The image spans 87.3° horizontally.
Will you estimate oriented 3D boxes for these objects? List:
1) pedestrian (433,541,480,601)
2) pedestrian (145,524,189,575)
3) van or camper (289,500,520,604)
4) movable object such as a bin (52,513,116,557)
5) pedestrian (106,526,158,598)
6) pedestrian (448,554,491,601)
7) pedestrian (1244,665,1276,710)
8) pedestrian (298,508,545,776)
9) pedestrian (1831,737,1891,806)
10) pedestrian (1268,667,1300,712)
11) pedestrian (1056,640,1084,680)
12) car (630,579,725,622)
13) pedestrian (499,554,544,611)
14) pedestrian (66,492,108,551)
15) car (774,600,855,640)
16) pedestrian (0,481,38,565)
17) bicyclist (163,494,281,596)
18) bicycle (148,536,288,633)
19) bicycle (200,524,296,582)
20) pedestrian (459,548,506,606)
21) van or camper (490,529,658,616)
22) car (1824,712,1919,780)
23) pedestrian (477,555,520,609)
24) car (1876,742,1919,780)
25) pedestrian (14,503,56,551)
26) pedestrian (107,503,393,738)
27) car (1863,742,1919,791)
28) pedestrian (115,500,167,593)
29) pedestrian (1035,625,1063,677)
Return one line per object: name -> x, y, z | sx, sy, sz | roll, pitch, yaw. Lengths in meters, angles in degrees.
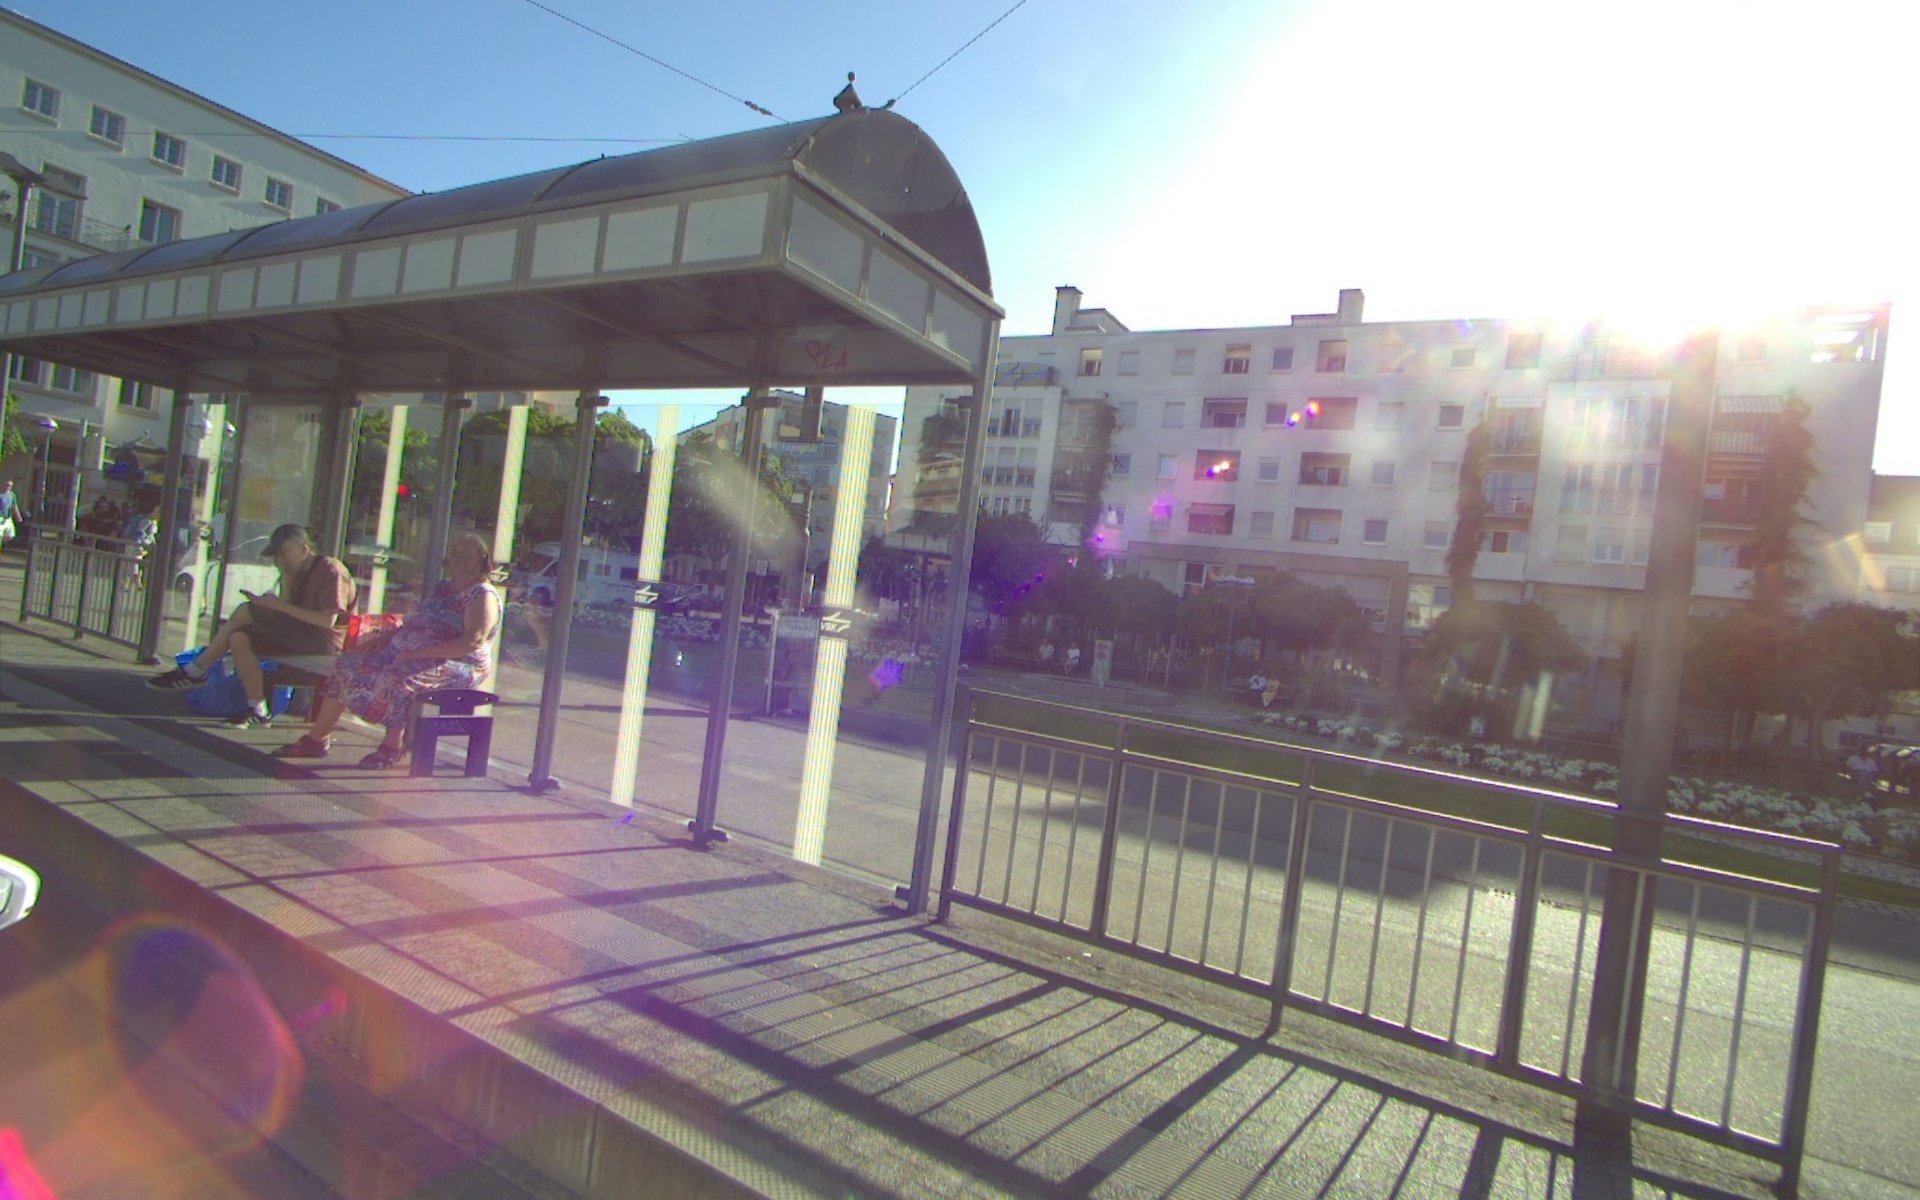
pedestrian -> -15.516, -0.895, 31.020 | 0.684, 1.705, 0.902 | 7, 0, 35
pedestrian -> -24.904, -1.592, 31.586 | 0.742, 1.427, 0.731 | 11, 2, 32
van or camper -> -20.627, -1.689, 37.820 | 2.331, 2.780, 7.132 | 9, 0, 32
movable object such as a bin -> -28.328, -2.096, 32.531 | 1.197, 1.167, 1.200 | 7, -1, 32
pedestrian -> -15.456, -0.707, 18.782 | 0.520, 1.240, 0.557 | 6, -2, 42
pedestrian -> -14.936, -0.670, 30.637 | 0.595, 1.295, 0.901 | 7, 0, 38
pedestrian -> 9.377, 2.729, 31.460 | 0.718, 1.287, 0.745 | 7, 0, 11
pedestrian -> -2.995, 0.256, 5.651 | 0.613, 1.348, 0.861 | 6, -4, 31
pedestrian -> 21.388, 4.044, 23.901 | 0.923, 1.428, 1.521 | 7, -1, 42
pedestrian -> 10.078, 2.778, 31.304 | 0.718, 1.287, 0.745 | 7, 0, 11
pedestrian -> 3.833, 2.095, 35.000 | 0.718, 1.287, 1.042 | 7, 0, 11
car -> -13.981, 0.054, 49.851 | 1.974, 1.529, 3.982 | 6, -3, 43
pedestrian -> -13.545, -0.537, 31.085 | 0.651, 1.605, 0.902 | 7, 0, 35
pedestrian -> -29.735, -2.682, 34.256 | 0.667, 1.861, 0.785 | 7, 0, 35
car -> -6.910, 0.998, 48.168 | 1.964, 1.503, 4.000 | 7, -1, 23
pedestrian -> -23.175, -1.892, 24.227 | 1.110, 1.900, 0.983 | 6, -1, 29
bicyclist -> -10.413, -0.767, 14.212 | 0.918, 1.239, 0.952 | 7, -2, 33
bicycle -> -10.484, -0.231, 14.184 | 2.285, 1.073, 0.720 | 7, -2, 33
bicycle -> -23.766, -1.548, 33.631 | 0.714, 1.548, 2.391 | 7, -3, 31
pedestrian -> -14.342, -0.679, 30.217 | 0.651, 1.605, 0.902 | 7, 0, 35
van or camper -> -16.726, -1.123, 43.979 | 2.340, 2.873, 6.410 | 7, -1, 35
car -> 43.544, 6.829, 45.351 | 6.287, 2.585, 2.812 | 7, -1, 29
pedestrian -> -14.735, -0.568, 32.119 | 0.651, 1.604, 0.902 | 7, 0, 35
car -> 39.955, 6.774, 40.743 | 3.941, 1.303, 1.993 | 7, -1, 38
pedestrian -> -28.147, -2.212, 30.628 | 0.736, 1.332, 0.622 | 7, 0, -35
pedestrian -> -4.308, 0.144, 6.145 | 0.908, 1.238, 1.001 | 6, -4, 32
car -> 36.063, 6.339, 37.030 | 3.941, 1.535, 1.993 | 7, -1, 38
pedestrian -> -16.261, -1.058, 19.975 | 0.520, 1.765, 0.557 | 6, -1, 42
pedestrian -> 3.121, 1.782, 35.167 | 0.661, 1.745, 1.028 | 7, 0, 11
